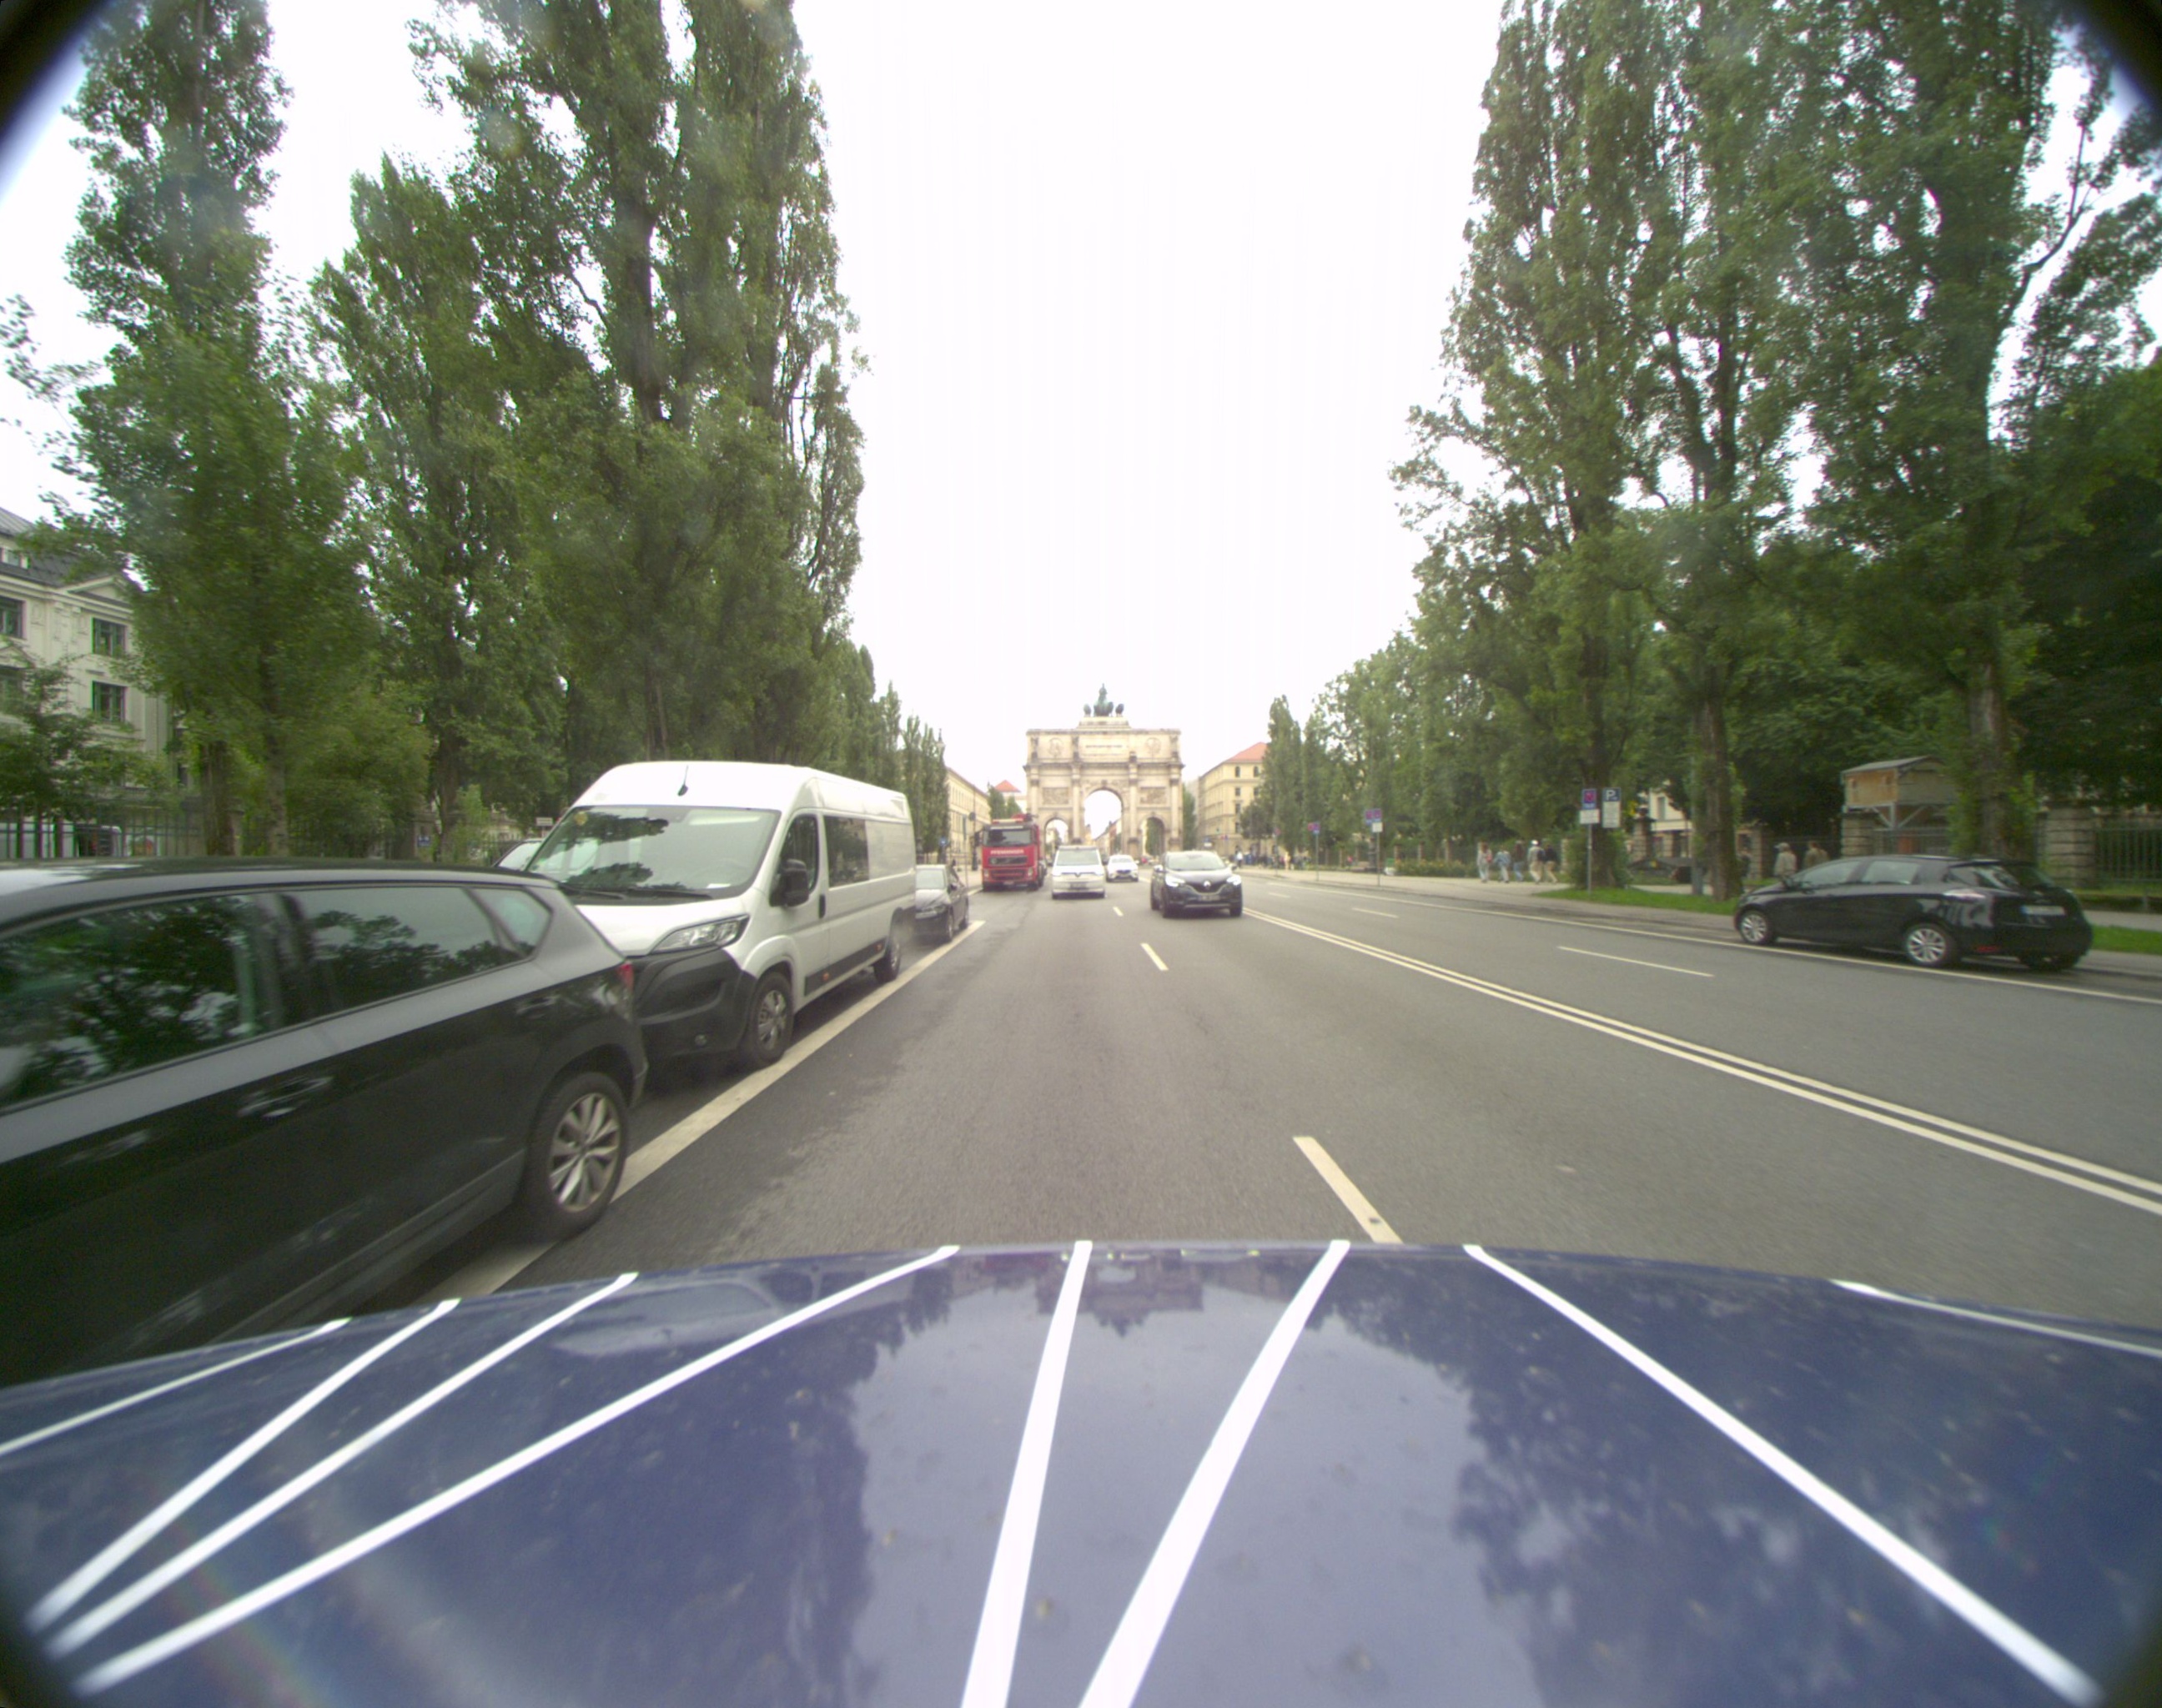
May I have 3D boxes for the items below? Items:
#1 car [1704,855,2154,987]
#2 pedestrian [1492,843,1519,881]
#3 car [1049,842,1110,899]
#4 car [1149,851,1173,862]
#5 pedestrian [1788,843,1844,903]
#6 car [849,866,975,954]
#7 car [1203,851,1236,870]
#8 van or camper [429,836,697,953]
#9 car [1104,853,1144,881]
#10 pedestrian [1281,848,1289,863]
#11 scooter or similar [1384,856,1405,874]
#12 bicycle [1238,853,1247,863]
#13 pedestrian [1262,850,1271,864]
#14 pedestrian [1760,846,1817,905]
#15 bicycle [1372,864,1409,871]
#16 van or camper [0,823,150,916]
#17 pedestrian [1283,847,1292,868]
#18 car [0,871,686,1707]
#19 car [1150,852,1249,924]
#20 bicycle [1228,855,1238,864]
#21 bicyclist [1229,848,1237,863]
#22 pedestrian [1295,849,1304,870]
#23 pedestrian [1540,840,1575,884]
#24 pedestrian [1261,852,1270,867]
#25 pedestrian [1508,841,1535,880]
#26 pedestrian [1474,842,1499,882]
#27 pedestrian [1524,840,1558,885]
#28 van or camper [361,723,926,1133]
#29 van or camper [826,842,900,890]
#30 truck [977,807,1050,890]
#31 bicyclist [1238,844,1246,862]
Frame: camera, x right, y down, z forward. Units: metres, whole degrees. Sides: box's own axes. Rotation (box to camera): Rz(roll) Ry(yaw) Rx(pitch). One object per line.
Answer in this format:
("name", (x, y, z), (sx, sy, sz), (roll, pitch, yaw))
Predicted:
("car", (12.281, 0.831, 11.588), (1.949, 1.574, 4.388), (1, 0, 0))
("pedestrian", (19.008, 0.366, 34.015), (0.689, 1.690, 0.885), (-1, 0, -1))
("car", (-0.033, 0.568, 29.105), (2.064, 1.916, 5.728), (-1, 0, 1))
("car", (14.017, 0.435, 133.442), (2.004, 1.739, 3.989), (-1, 0, -40))
("pedestrian", (19.827, 0.499, 20.508), (0.720, 1.595, 0.813), (-1, 0, -1))
("car", (-3.190, 0.989, 15.086), (1.680, 1.412, 3.999), (-1, 0, -2))
("car", (11.473, 0.527, 63.364), (1.797, 1.329, 4.466), (-1, 3, -2))
("van or camper", (-10.103, 0.691, 15.481), (1.980, 1.922, 5.037), (-2, 0, -1))
("car", (2.452, 0.727, 44.086), (1.910, 1.516, 4.008), (-1, 0, -3))
("pedestrian", (26.619, 0.232, 99.151), (0.990, 1.860, 1.031), (-2, 1, 10))
("scooter or similar", (21.082, 0.752, 51.127), (0.747, 1.171, 1.415), (1, 0, -5))
("bicycle", (16.034, 0.362, 75.497), (0.470, 0.947, 1.913), (-2, 0, -1))
("pedestrian", (23.459, 0.396, 96.034), (0.958, 1.708, 1.032), (-2, 1, 22))
("pedestrian", (19.081, 0.575, 20.497), (0.720, 1.539, 0.875), (-1, 0, -1))
("bicycle", (22.649, 0.968, 55.662), (2.219, 0.450, 1.339), (-1, -1, -23))
("van or camper", (-32.569, 0.467, 23.276), (5.223, 2.690, 2.249), (-1, 0, 0))
("pedestrian", (17.730, 0.291, 65.208), (0.533, 1.720, 0.583), (-1, 1, -11))
("car", (-2.905, 0.917, 1.749), (1.789, 1.639, 4.417), (-1, 0, -2))
("car", (2.837, 0.753, 19.028), (1.840, 1.576, 4.185), (-2, 0, 1))
("bicycle", (17.293, 0.586, 86.414), (0.674, 0.947, 1.913), (-2, 0, -1))
("bicyclist", (17.268, 0.170, 86.413), (0.647, 1.583, 0.661), (-2, 1, -2))
("pedestrian", (17.505, 0.428, 60.902), (0.533, 1.720, 0.583), (-1, 1, -11))
("pedestrian", (19.911, 0.325, 31.753), (0.711, 1.762, 1.092), (-2, 1, -1))
("pedestrian", (22.000, 0.660, 90.689), (0.959, 1.708, 1.031), (-2, 1, 12))
("pedestrian", (19.752, 0.284, 34.068), (0.661, 1.706, 0.911), (-1, 0, -1))
("pedestrian", (18.081, 0.345, 33.877), (0.631, 1.737, 0.908), (-1, 0, -1))
("pedestrian", (19.187, 0.344, 31.712), (0.711, 1.823, 1.092), (-2, 1, -1))
("van or camper", (-3.371, 0.451, 7.939), (2.144, 2.525, 6.416), (-1, 0, 0))
("van or camper", (-9.912, 0.506, 34.968), (2.009, 2.002, 4.985), (-2, 0, -2))
("truck", (-3.161, -0.253, 38.297), (2.852, 3.543, 10.277), (-1, 0, -1))
("bicyclist", (16.015, -0.092, 75.463), (0.591, 1.812, 0.661), (-2, 1, -2))
